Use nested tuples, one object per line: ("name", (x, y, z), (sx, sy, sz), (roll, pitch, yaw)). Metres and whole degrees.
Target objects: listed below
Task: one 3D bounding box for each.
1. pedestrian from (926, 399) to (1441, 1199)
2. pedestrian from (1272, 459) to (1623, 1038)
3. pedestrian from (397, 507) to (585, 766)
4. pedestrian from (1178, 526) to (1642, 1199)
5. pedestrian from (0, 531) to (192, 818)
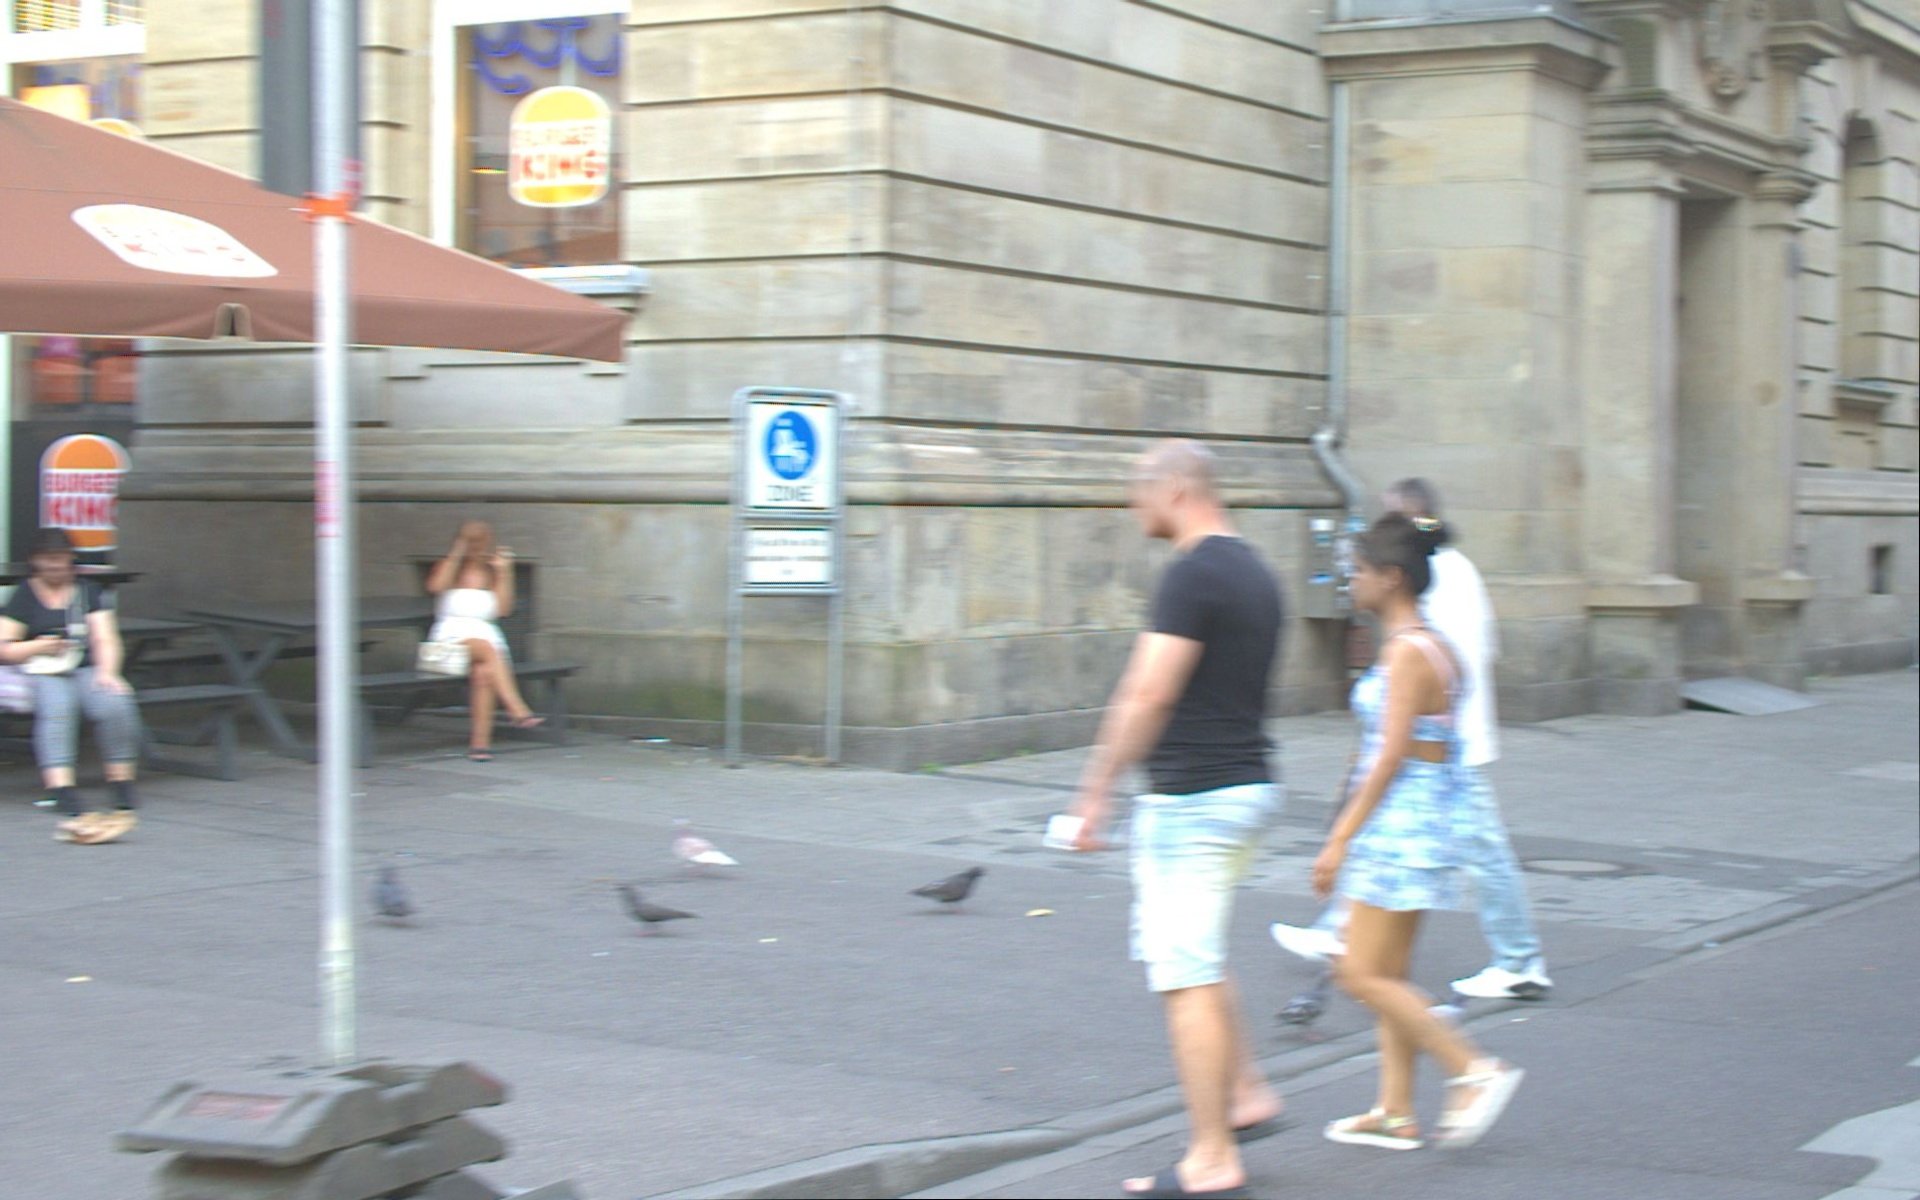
("pedestrian", (0.525, 0.478, 7.920), (0.872, 1.833, 0.805), (2, 0, 29))
("pedestrian", (1.662, 0.464, 11.667), (0.872, 1.833, 0.866), (4, 3, 24))
("pedestrian", (-2.520, 0.181, 18.439), (0.663, 1.304, 0.773), (0, 5, -36))
("pedestrian", (1.138, 0.622, 8.623), (0.872, 1.576, 0.805), (2, 0, 29))
("pedestrian", (-4.129, 0.326, 15.810), (0.827, 1.238, 0.779), (5, 3, 43))
